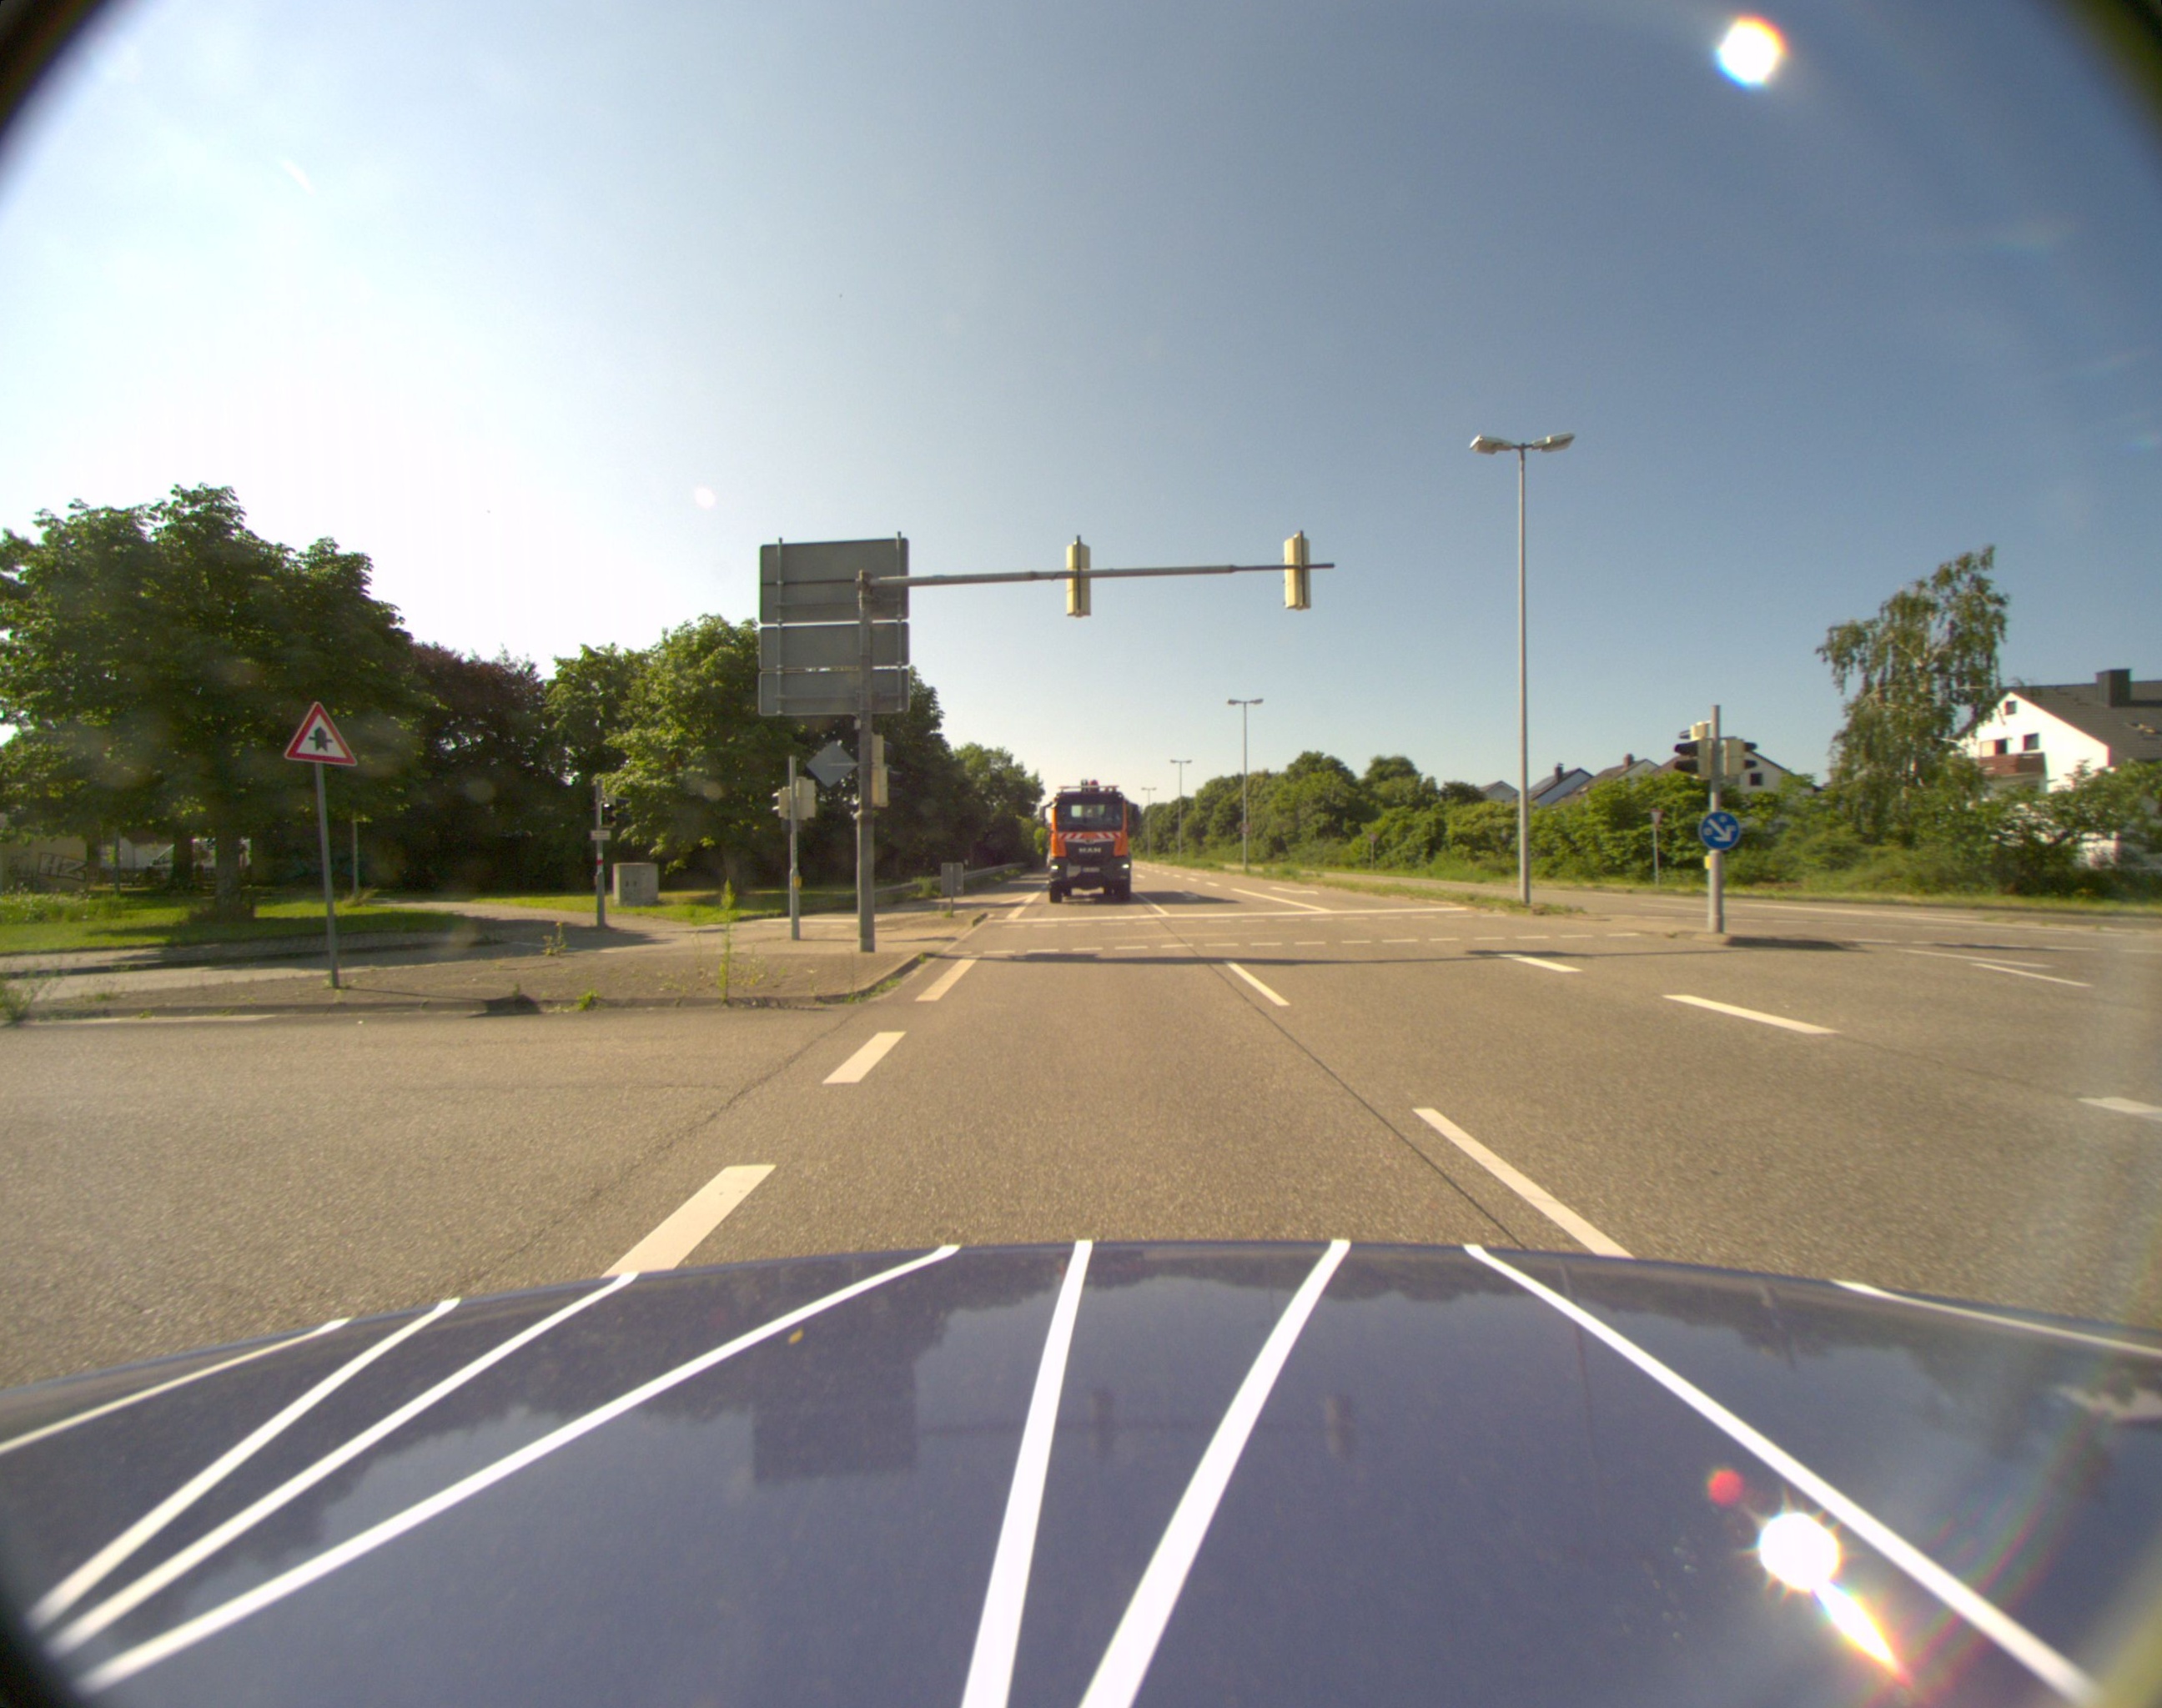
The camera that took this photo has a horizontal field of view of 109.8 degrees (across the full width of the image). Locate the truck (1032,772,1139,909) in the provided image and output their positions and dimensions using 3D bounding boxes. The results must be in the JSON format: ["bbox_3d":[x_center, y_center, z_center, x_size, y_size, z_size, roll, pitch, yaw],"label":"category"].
[{"bbox_3d":[0.187,-0.439,25.141,2.940,3.853,6.590,-2,1,1],"label":"truck"}]

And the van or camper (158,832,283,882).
[{"bbox_3d":[-50.213,0.156,44.391,4.812,2.815,1.999,-1,1,-2],"label":"van or camper"}]
